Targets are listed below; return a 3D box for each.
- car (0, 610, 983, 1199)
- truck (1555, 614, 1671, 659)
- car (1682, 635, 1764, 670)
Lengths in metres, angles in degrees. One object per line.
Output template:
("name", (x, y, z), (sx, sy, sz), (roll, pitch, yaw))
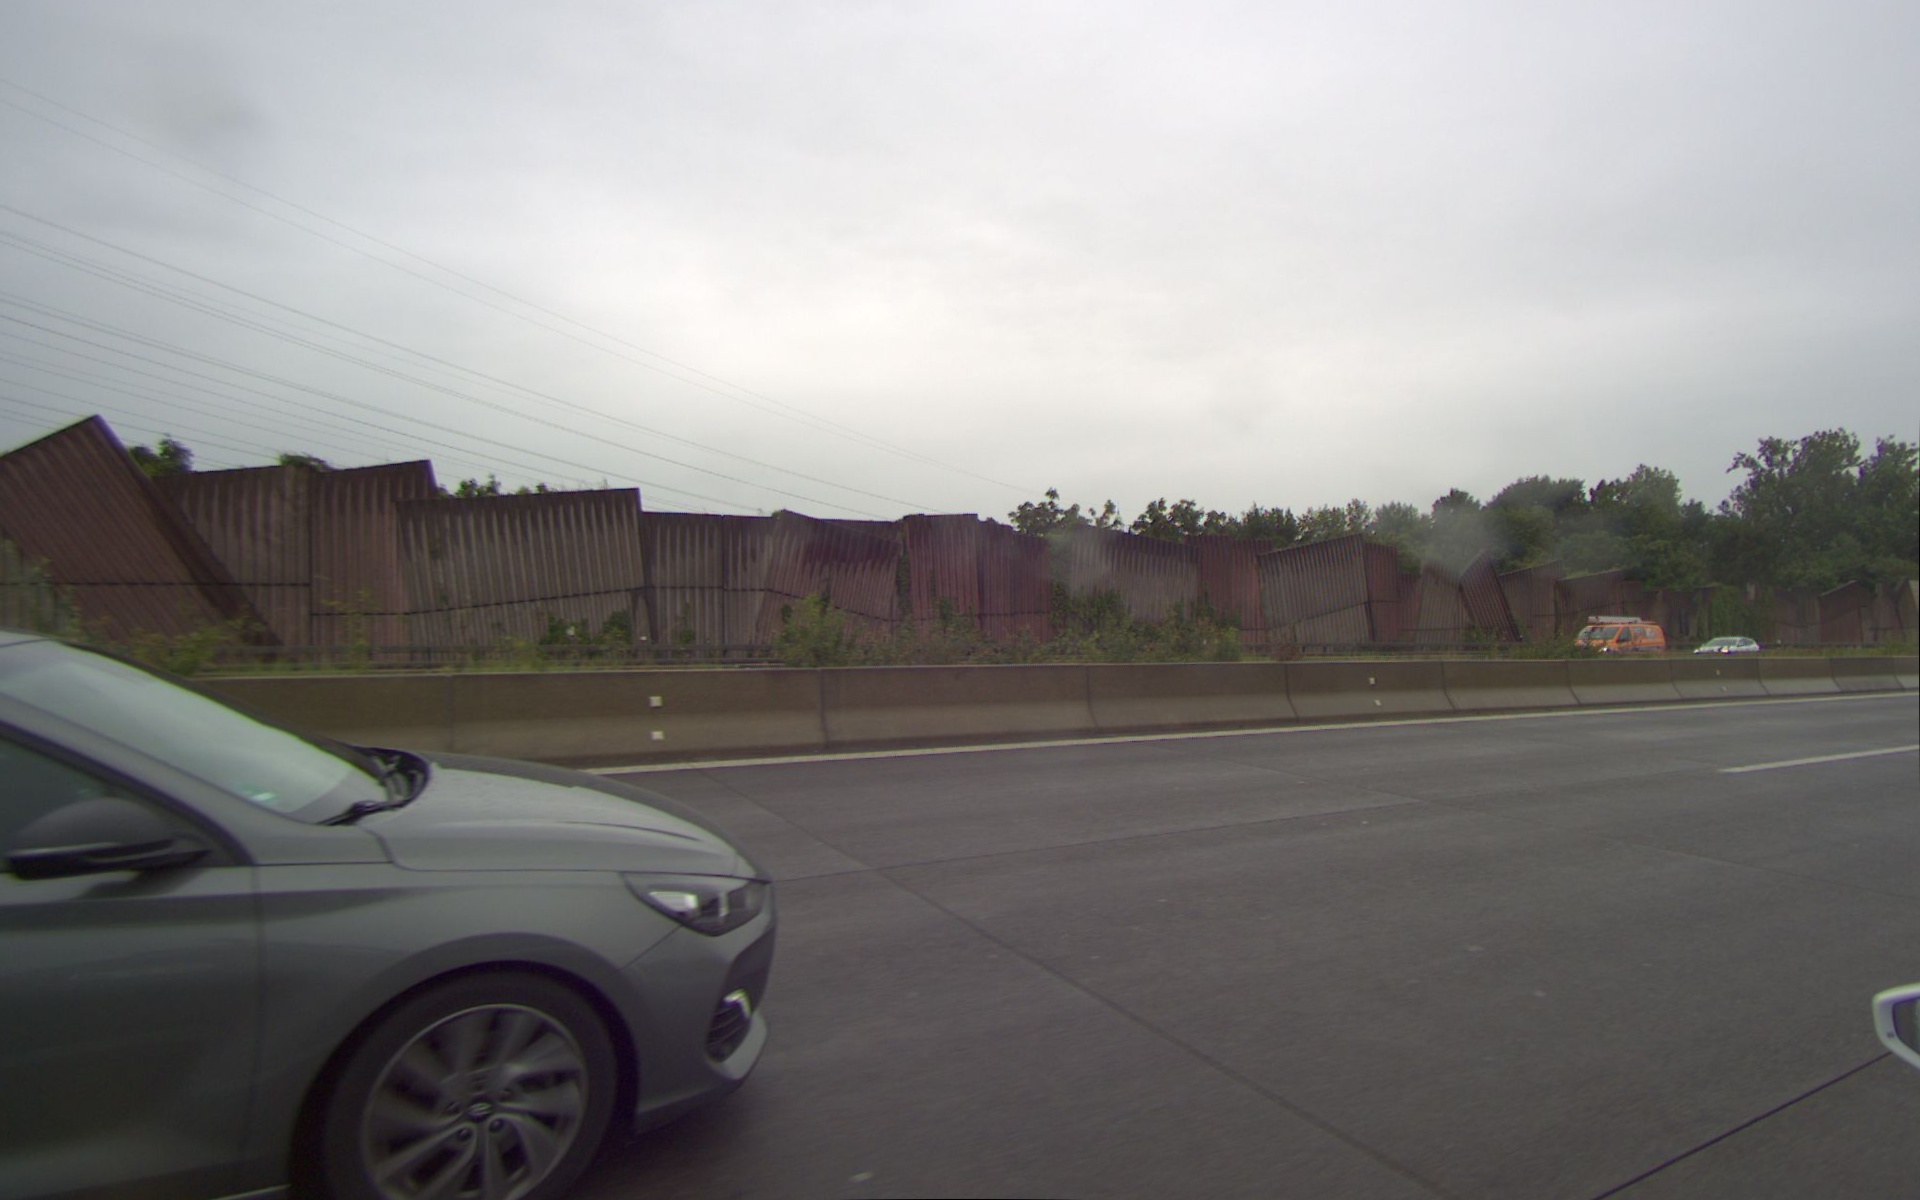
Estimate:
("car", (-2.425, 0.752, 2.439), (4.771, 1.421, 1.717), (1, 0, -30))
("truck", (27.202, 1.525, 41.814), (4.955, 1.762, 1.985), (1, -1, -29))
("car", (41.702, 2.845, 54.908), (4.344, 1.762, 1.985), (1, -1, -29))
